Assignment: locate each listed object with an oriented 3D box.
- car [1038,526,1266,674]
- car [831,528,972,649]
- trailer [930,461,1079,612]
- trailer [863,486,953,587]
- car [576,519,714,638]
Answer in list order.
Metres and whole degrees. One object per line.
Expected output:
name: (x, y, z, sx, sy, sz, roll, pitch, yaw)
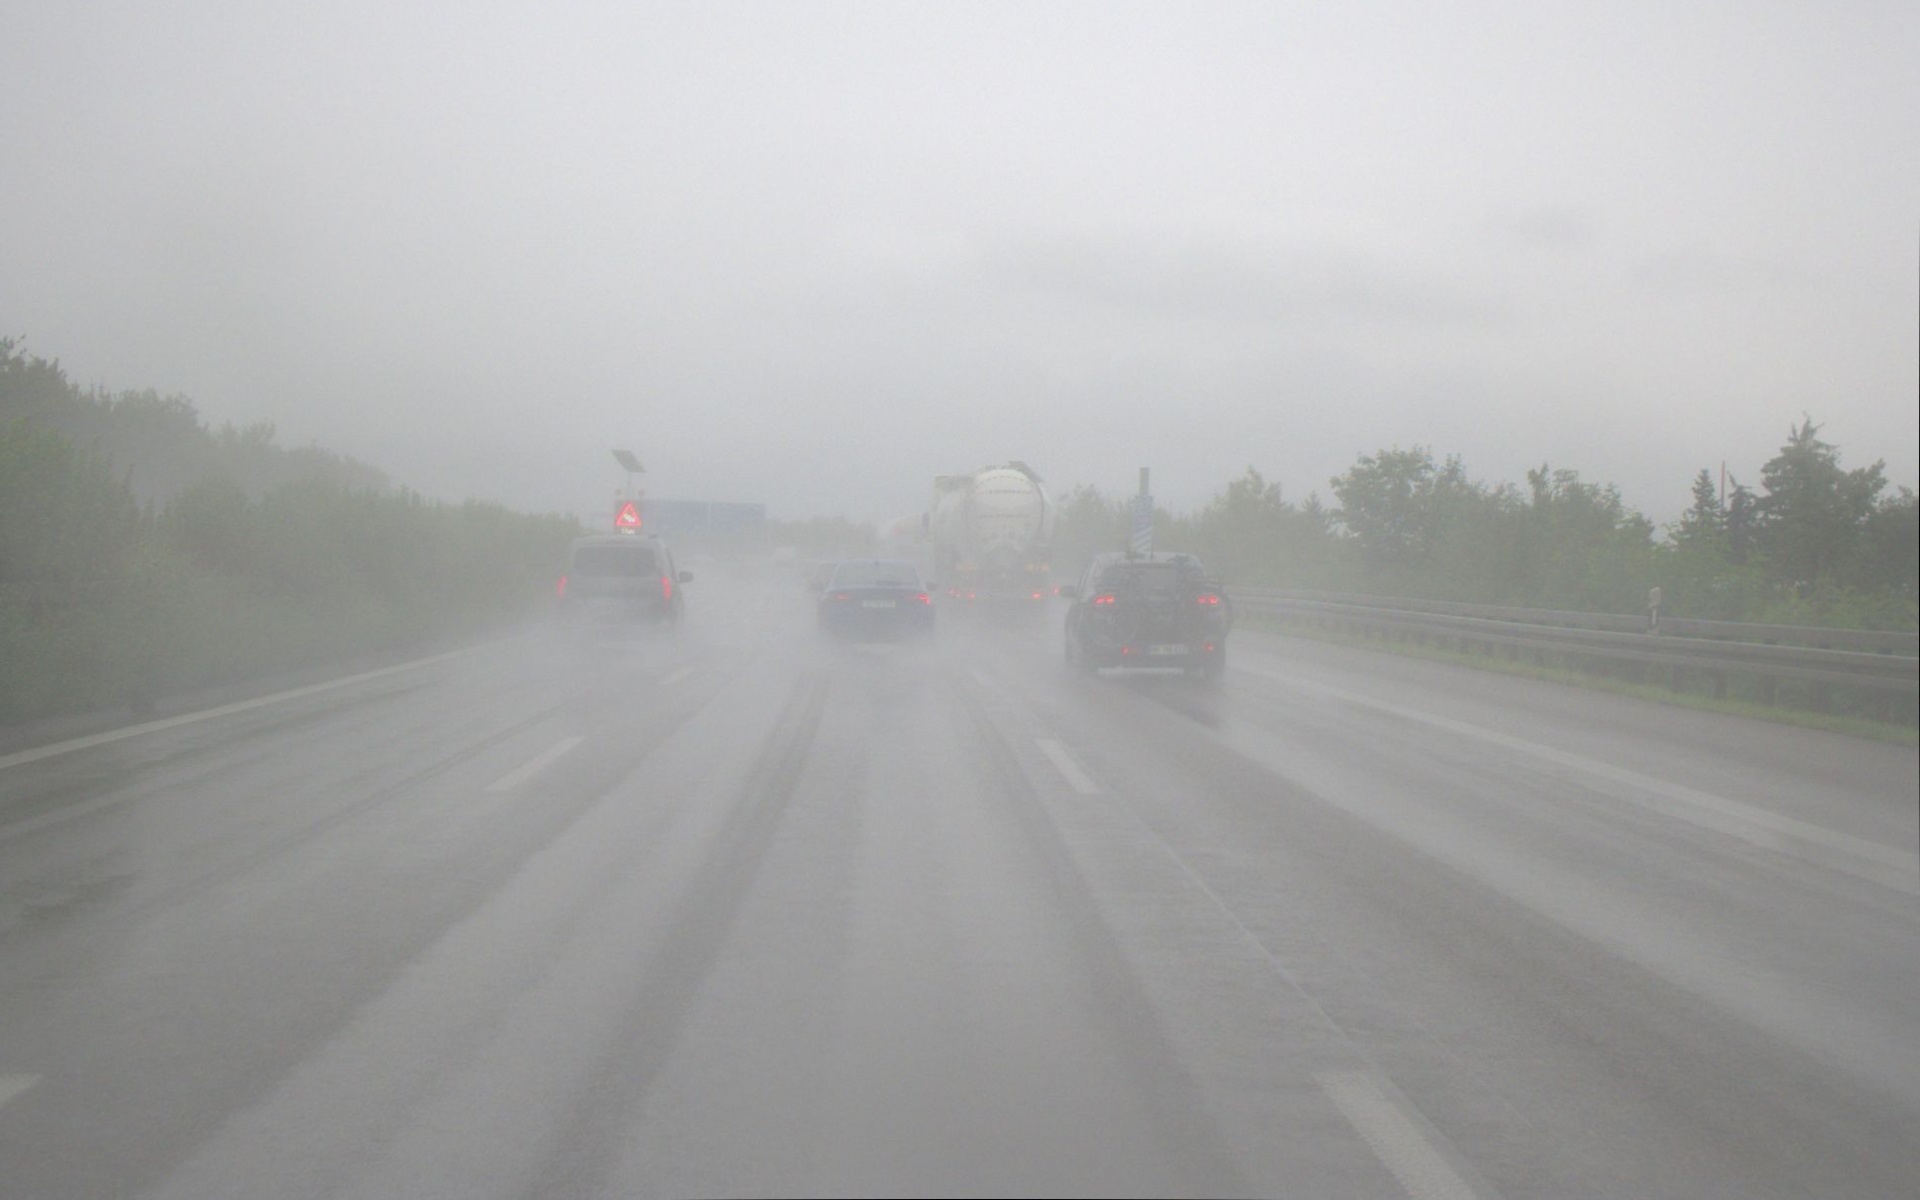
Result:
car: (2.343, -0.041, 43.659, 2.457, 1.740, 5.719, 0, 1, -1)
car: (-0.944, -0.205, 52.472, 1.978, 1.750, 4.482, 0, 1, -3)
trailer: (1.047, -1.643, 90.136, 3.188, 3.657, 11.668, 0, 1, -3)
trailer: (-2.109, -2.490, 135.406, 3.004, 3.834, 8.625, 0, 1, -4)
car: (-4.826, -0.352, 53.139, 1.925, 1.735, 4.404, 1, 1, -3)
